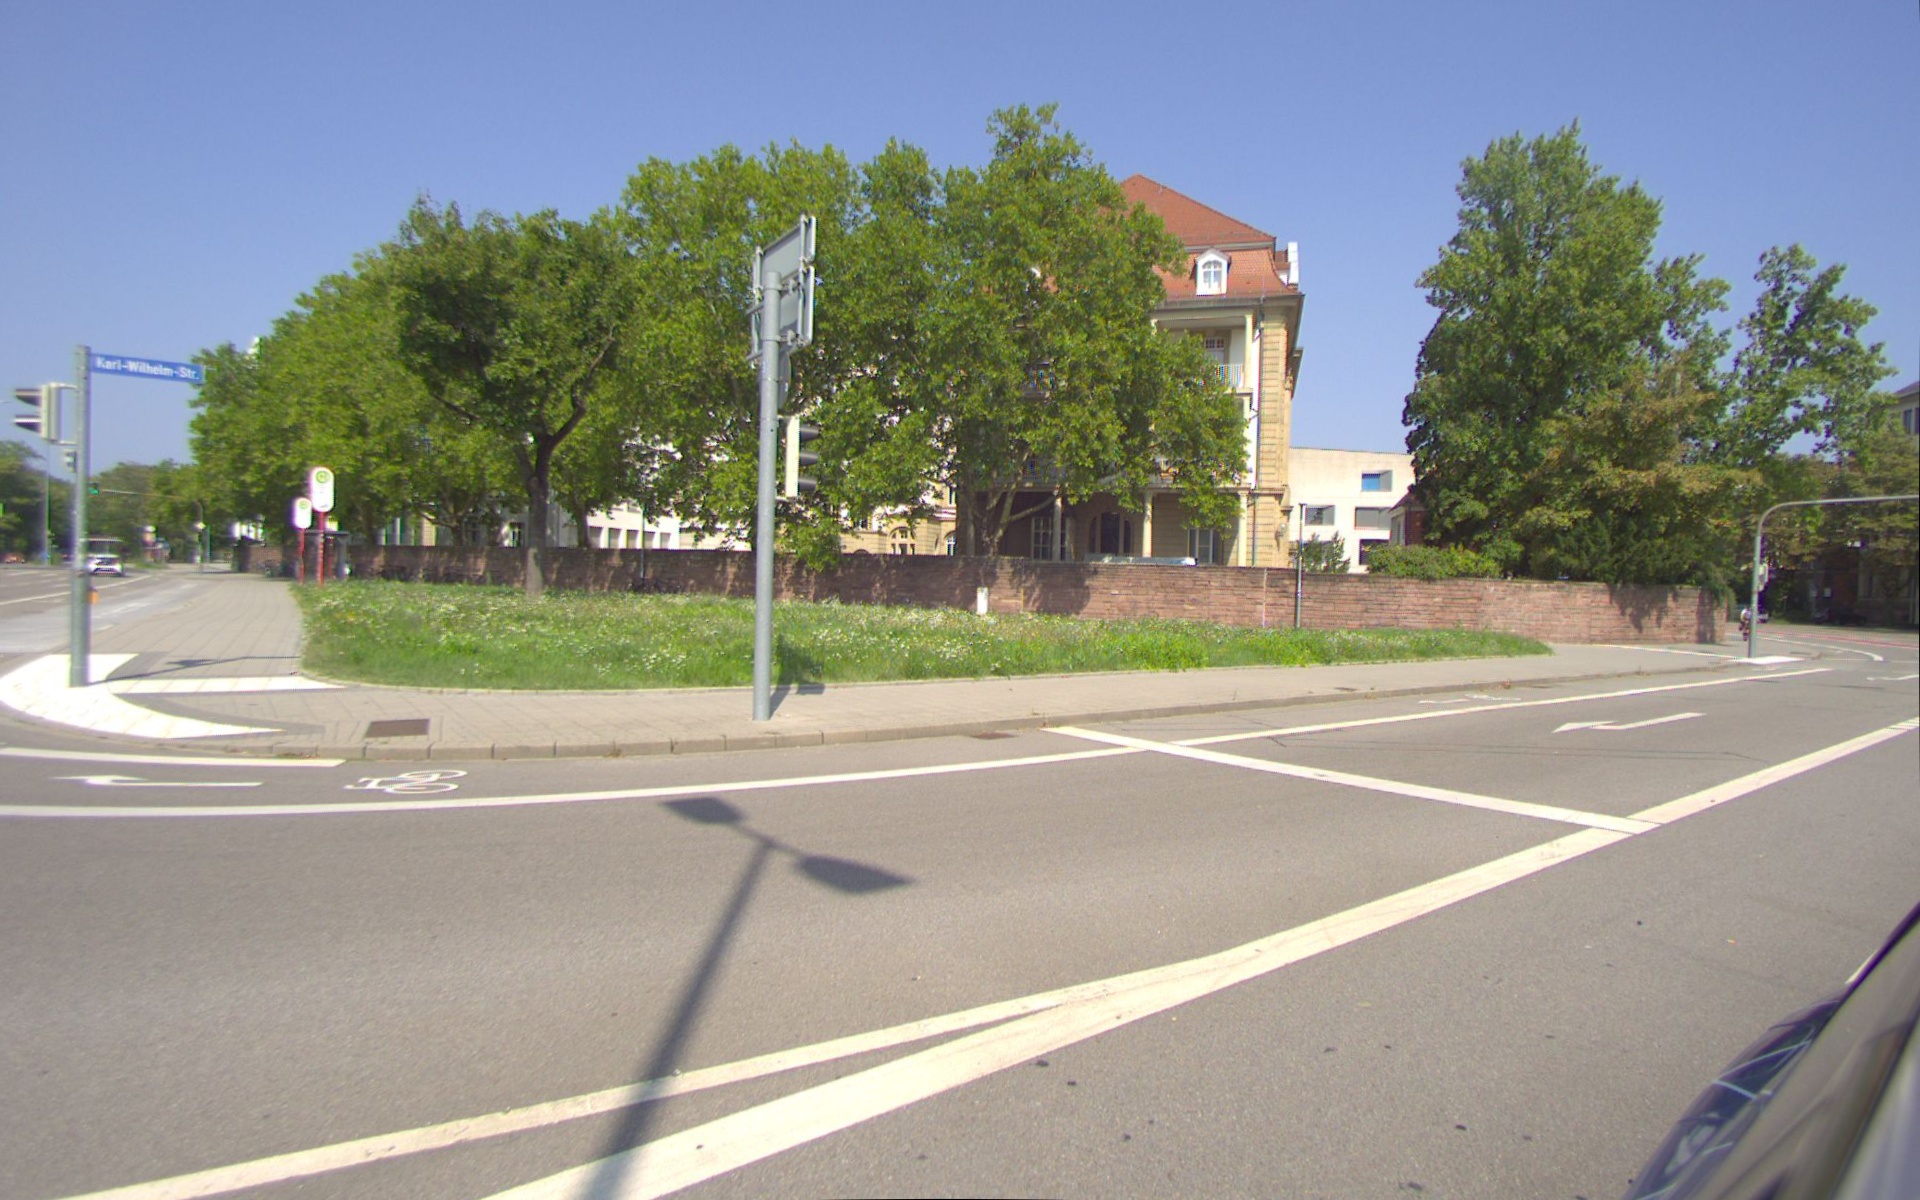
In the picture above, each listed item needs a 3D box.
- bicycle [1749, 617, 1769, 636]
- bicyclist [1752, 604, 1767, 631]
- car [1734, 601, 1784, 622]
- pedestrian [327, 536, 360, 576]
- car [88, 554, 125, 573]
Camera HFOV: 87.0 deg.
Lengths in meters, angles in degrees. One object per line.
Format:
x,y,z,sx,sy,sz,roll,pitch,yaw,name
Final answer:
37.921,1.255,48.028,1.460,0.822,0.437,1,2,-41,bicycle
37.915,0.844,48.002,0.531,1.248,0.432,1,1,-41,bicyclist
67.234,0.922,85.259,1.862,1.615,3.980,3,1,16,car
-33.102,-2.356,54.347,1.226,2.038,1.060,3,1,32,pedestrian
-56.660,-2.441,67.229,1.560,1.151,3.265,1,2,-34,car
